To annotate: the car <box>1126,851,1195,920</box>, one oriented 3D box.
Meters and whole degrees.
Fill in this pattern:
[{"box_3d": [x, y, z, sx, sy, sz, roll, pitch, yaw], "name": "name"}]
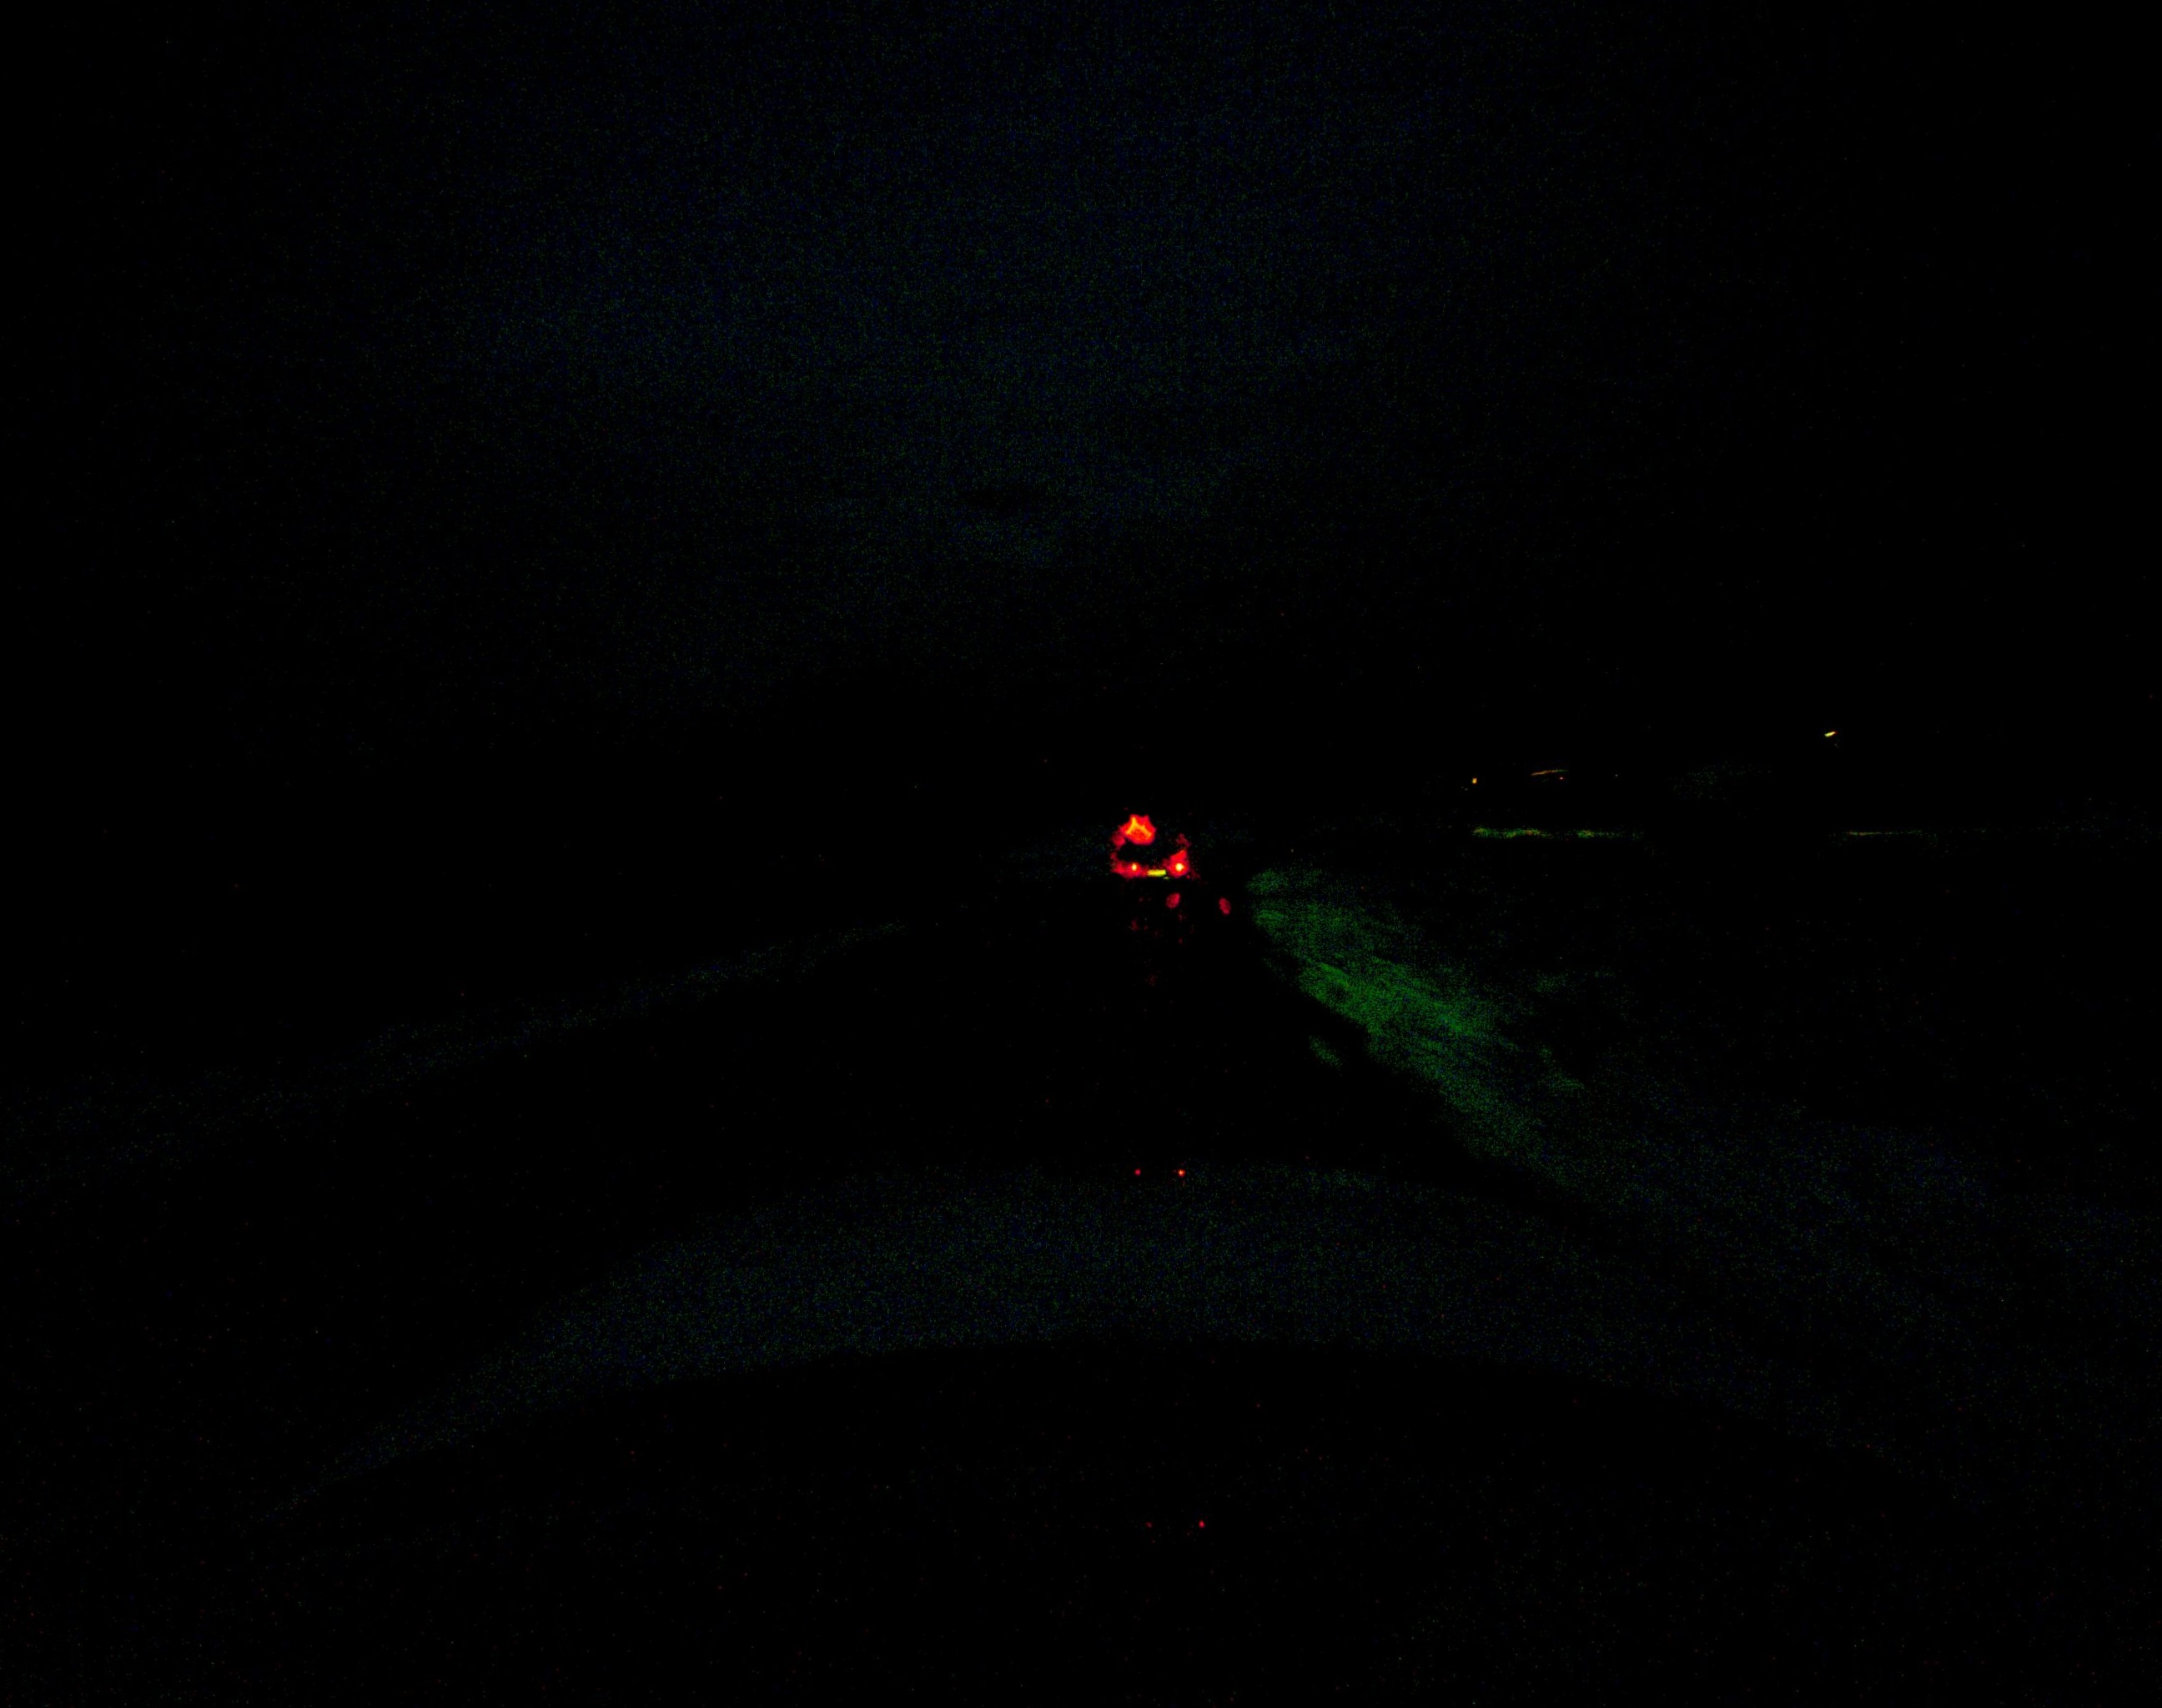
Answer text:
[{"box_3d": [2.456, 0.867, 24.371, 1.812, 1.796, 3.585, -3, 0, 8], "name": "car"}]
